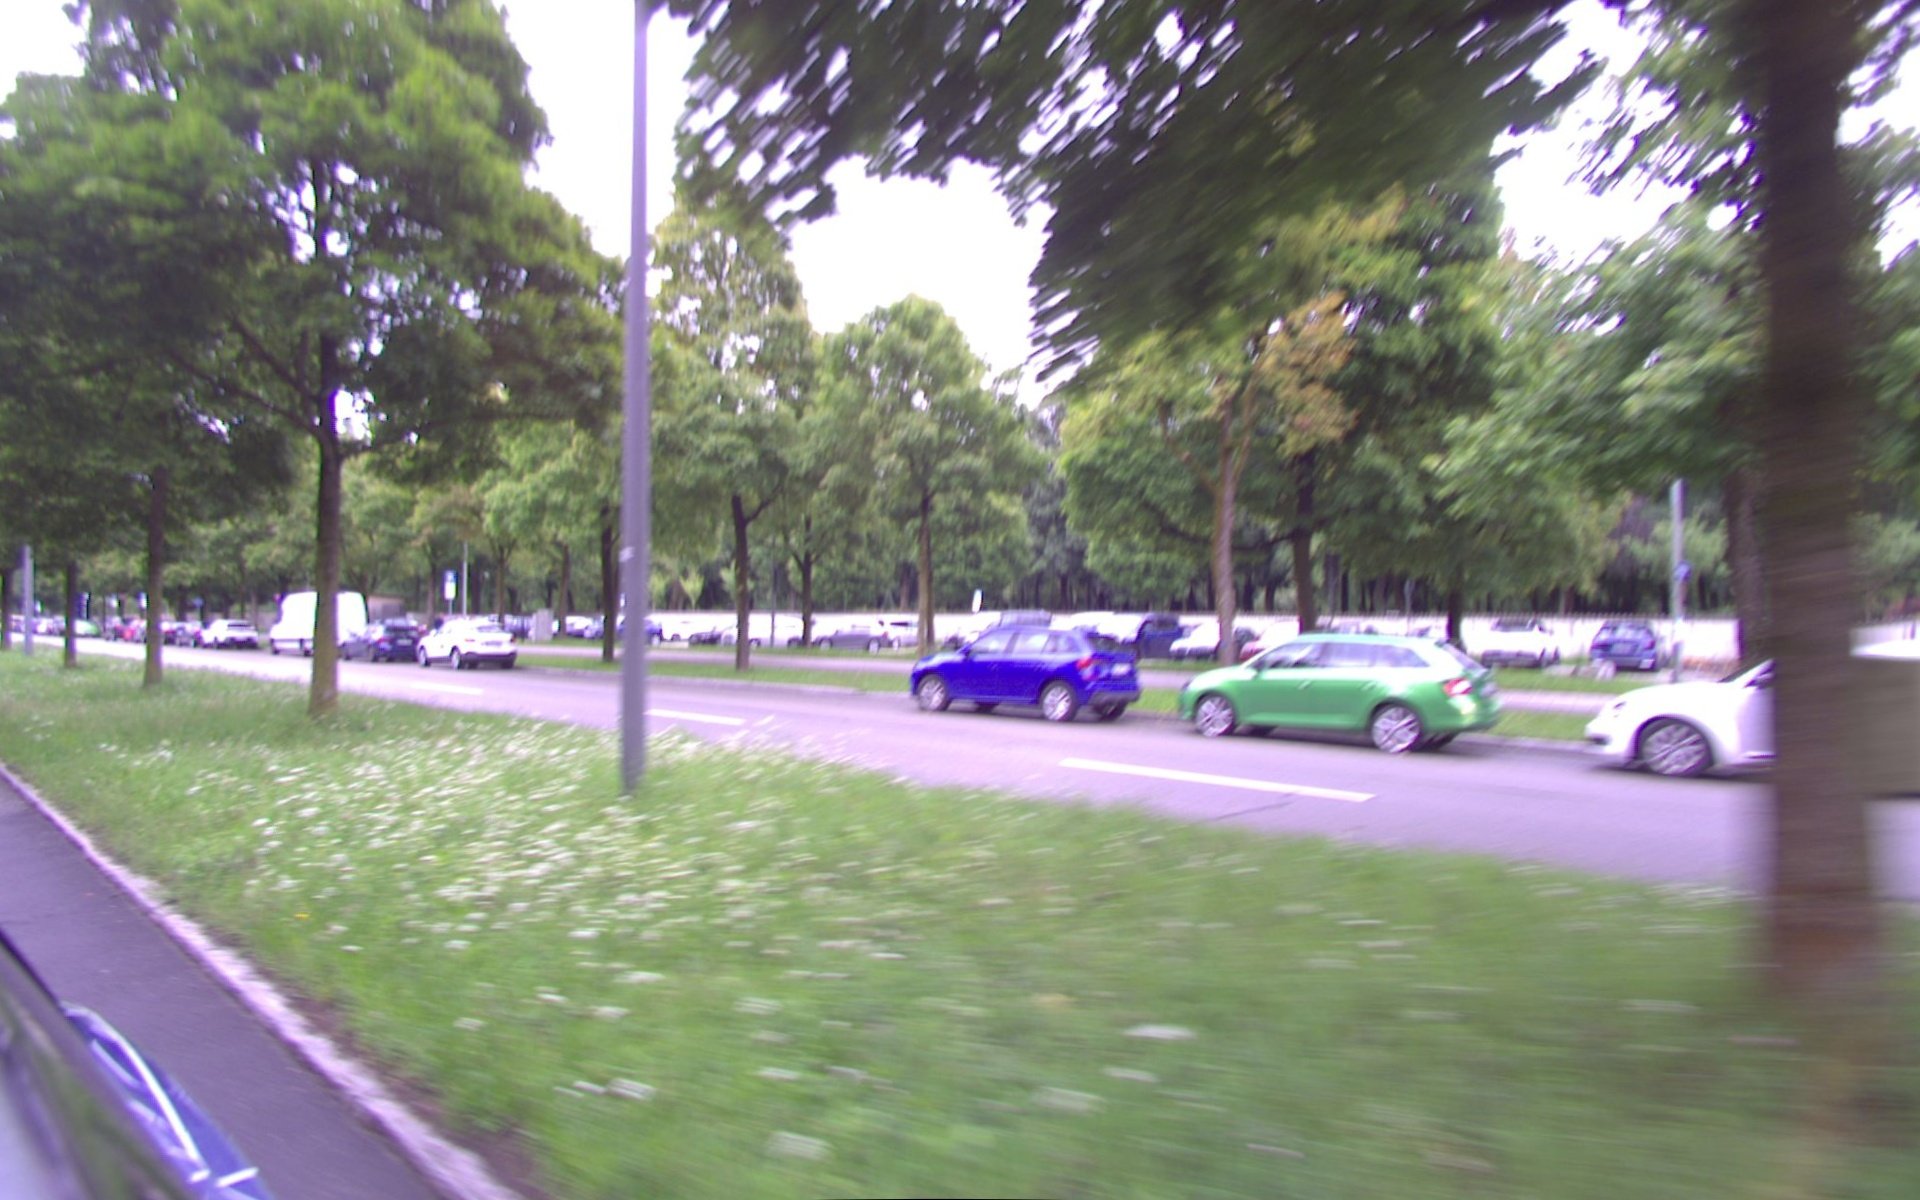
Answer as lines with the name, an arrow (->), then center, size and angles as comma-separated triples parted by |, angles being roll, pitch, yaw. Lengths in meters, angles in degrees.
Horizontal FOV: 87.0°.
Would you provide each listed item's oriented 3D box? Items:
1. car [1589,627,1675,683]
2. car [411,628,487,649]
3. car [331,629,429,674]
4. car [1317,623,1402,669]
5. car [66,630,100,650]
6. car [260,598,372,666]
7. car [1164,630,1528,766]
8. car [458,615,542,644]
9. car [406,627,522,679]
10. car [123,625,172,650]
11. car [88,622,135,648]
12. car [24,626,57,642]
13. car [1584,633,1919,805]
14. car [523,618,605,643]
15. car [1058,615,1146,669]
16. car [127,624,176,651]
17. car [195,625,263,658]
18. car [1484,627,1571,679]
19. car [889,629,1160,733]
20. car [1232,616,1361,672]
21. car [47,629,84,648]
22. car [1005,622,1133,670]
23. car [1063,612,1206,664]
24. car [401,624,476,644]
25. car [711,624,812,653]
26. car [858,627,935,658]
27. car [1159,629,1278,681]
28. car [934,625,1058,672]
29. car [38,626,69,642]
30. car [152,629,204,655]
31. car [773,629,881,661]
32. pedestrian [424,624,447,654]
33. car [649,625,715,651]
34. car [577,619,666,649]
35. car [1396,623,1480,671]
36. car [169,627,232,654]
car -> 21.432, 1.693, 32.206 | 1.814, 1.548, 3.946 | -1, 0, 40
car -> -31.989, 2.387, 63.455 | 1.737, 1.293, 3.953 | -1, -2, 35
car -> -21.682, 1.872, 37.761 | 4.249, 1.502, 1.838 | 0, -1, 40
car -> 15.330, 1.708, 38.741 | 1.814, 1.548, 3.946 | -1, 0, 40
car -> -71.168, 3.239, 82.103 | 3.999, 1.511, 1.622 | -2, -4, 43
car -> -27.510, 1.386, 43.122 | 7.102, 2.664, 2.117 | -2, -4, 42
car -> 5.067, 1.221, 13.662 | 4.312, 1.549, 1.621 | -1, -5, 41
car -> -26.104, 1.697, 57.507 | 1.814, 1.582, 3.943 | -1, -2, 43
car -> -16.031, 1.650, 32.630 | 4.139, 1.502, 1.838 | 0, -1, 40
car -> -53.617, 2.463, 66.760 | 3.807, 1.490, 1.803 | 0, -1, 40
car -> -58.439, 2.390, 69.685 | 4.236, 1.712, 1.803 | 0, -1, 40
car -> -90.042, 3.316, 99.070 | 3.784, 1.457, 1.803 | -1, -4, 39
car -> 8.943, 1.146, 10.184 | 4.312, 1.549, 1.742 | -1, -5, 41
car -> -22.186, 1.722, 56.779 | 1.815, 1.349, 3.942 | -1, -2, 44
car -> 6.835, 1.949, 48.300 | 1.999, 2.049, 4.461 | -2, 3, 41
car -> -50.802, 2.323, 63.578 | 4.112, 1.611, 1.801 | -1, -2, 43
car -> -37.739, 2.139, 52.220 | 4.296, 1.539, 1.803 | 0, -3, 40
car -> 19.085, 1.720, 33.968 | 1.814, 1.548, 3.946 | -1, 0, 40
car -> 1.012, 1.304, 17.177 | 4.310, 1.549, 1.867 | -1, -4, 40
car -> 9.250, 1.157, 27.622 | 1.758, 1.403, 4.367 | -1, -2, 41
car -> -77.534, 3.318, 87.671 | 4.454, 1.643, 1.802 | -1, -3, 41
car -> 3.644, 1.495, 33.664 | 3.934, 1.516, 2.005 | 1, -2, -35
car -> 5.423, 1.156, 31.209 | 4.293, 1.516, 2.004 | 1, -2, -38
car -> -33.743, 2.188, 65.589 | 1.737, 1.293, 3.951 | -1, -2, 36
car -> -8.525, 1.646, 43.670 | 1.784, 1.219, 3.941 | -2, -2, 44
car -> -3.389, 2.272, 54.694 | 3.940, 1.608, 1.771 | 2, -2, -44
car -> 7.588, 1.551, 29.511 | 1.758, 1.403, 3.935 | -1, -2, 41
car -> 1.277, 1.648, 35.215 | 3.934, 1.516, 2.005 | 1, -2, -35
car -> -81.971, 3.067, 91.527 | 3.686, 1.433, 1.632 | -2, -5, 42
car -> -46.522, 2.492, 60.182 | 4.001, 1.420, 1.801 | -1, -4, 44
car -> -5.311, 1.781, 40.894 | 1.784, 1.219, 4.126 | -2, -2, 44
pedestrian -> -26.801, 1.970, 51.684 | 0.856, 1.507, 0.786 | -1, -2, 42
car -> -18.652, 2.541, 67.982 | 3.940, 1.666, 1.771 | 2, -2, -44
car -> -17.295, 1.738, 51.829 | 3.940, 1.449, 1.816 | 2, -2, -44
car -> 17.502, 1.674, 36.968 | 1.814, 1.548, 3.946 | -1, 0, 40
car -> -41.819, 2.215, 55.699 | 3.995, 1.459, 1.804 | -1, -3, 39
